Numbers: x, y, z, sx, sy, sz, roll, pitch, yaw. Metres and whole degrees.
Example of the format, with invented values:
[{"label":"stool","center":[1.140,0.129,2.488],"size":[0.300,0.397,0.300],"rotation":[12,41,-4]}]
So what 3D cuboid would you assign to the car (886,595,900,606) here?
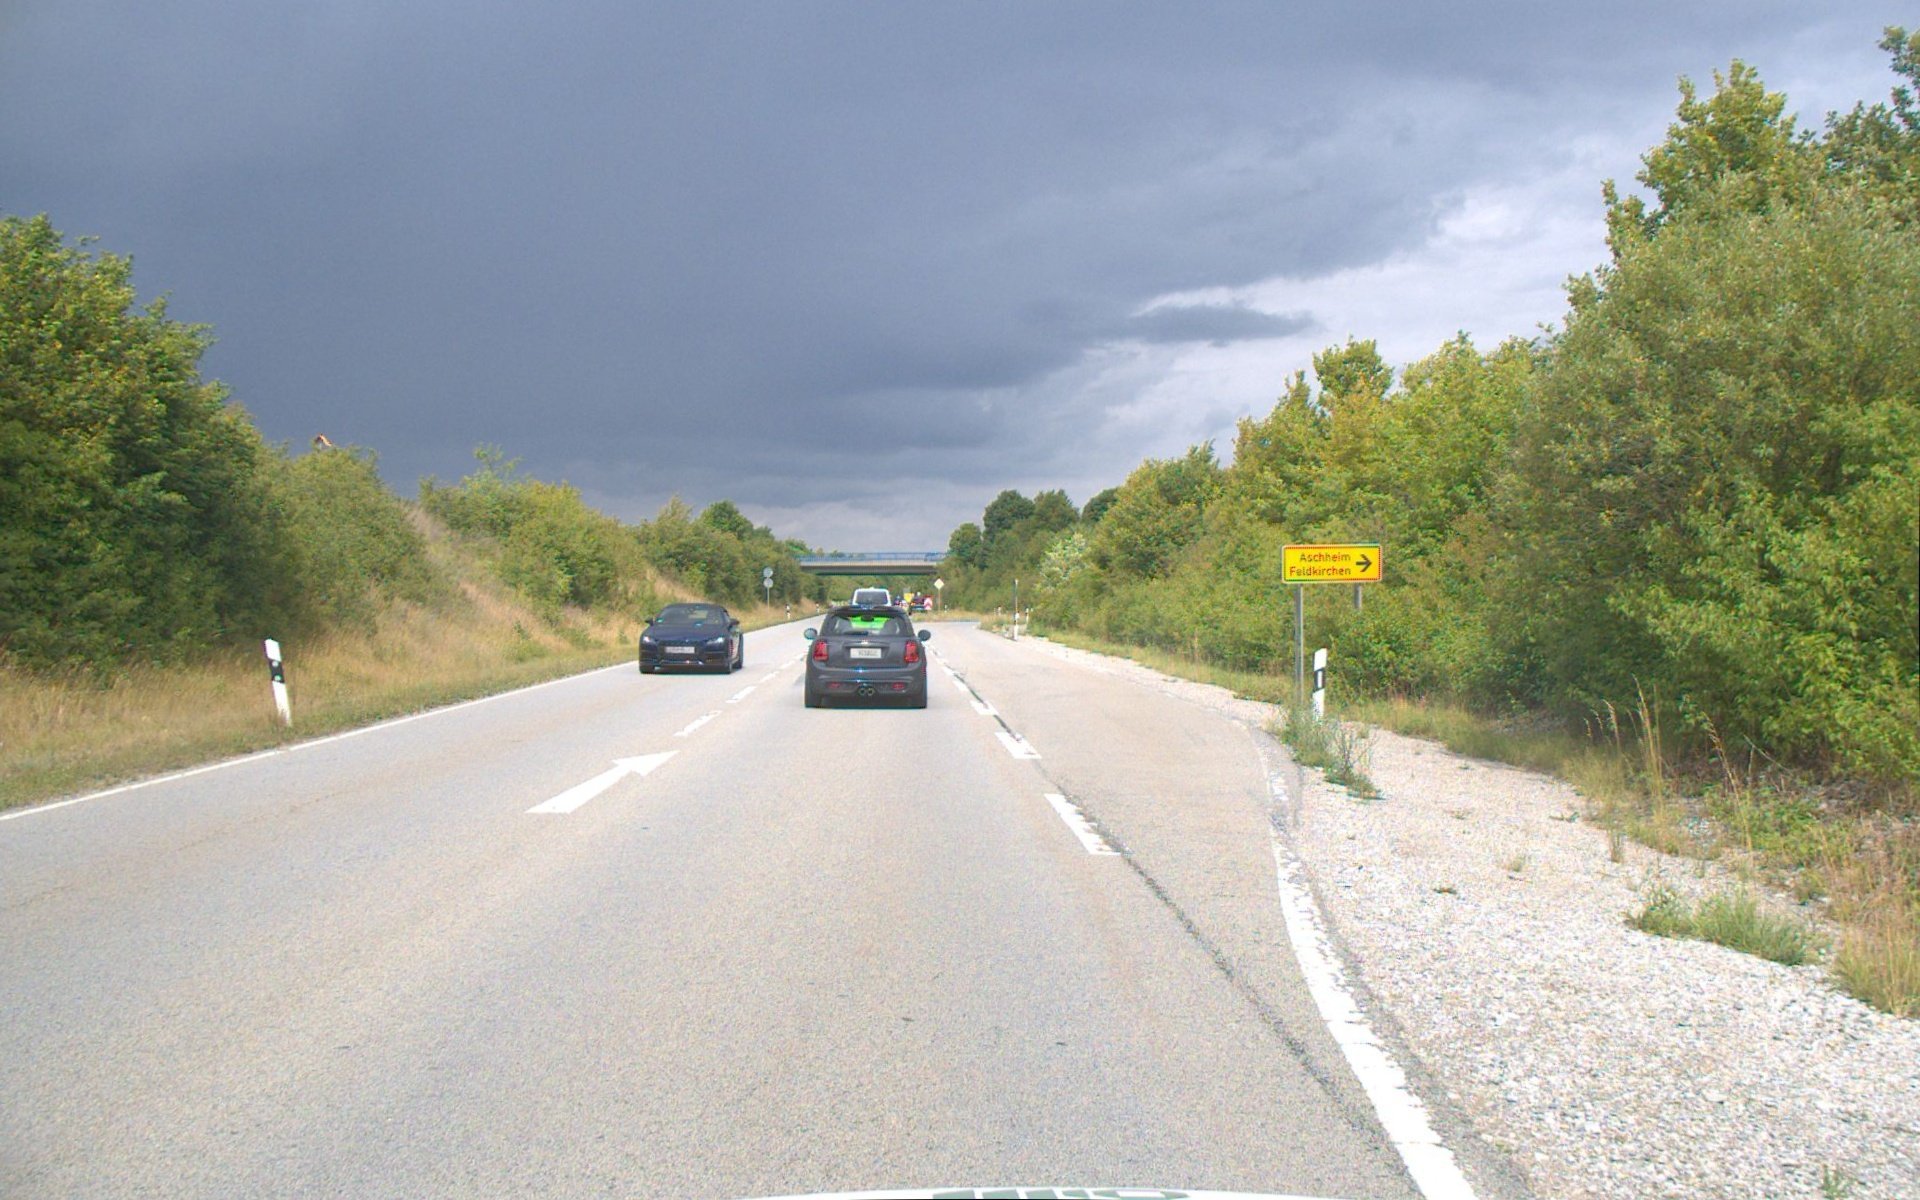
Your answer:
[{"label":"car","center":[-9.049,0.064,223.307],"size":[1.633,1.427,4.000],"rotation":[1,0,0]}]

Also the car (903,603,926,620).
[{"label":"car","center":[-4.313,1.061,157.667],"size":[1.954,1.579,3.996],"rotation":[1,0,-5]}]

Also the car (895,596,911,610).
[{"label":"car","center":[-6.926,0.353,202.105],"size":[1.745,1.736,3.996],"rotation":[1,0,-4]}]

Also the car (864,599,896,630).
[{"label":"car","center":[-4.738,0.837,98.547],"size":[1.781,1.780,3.999],"rotation":[1,0,-1]}]

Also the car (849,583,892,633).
[{"label":"car","center":[-3.965,0.344,73.536],"size":[1.783,2.090,3.998],"rotation":[1,0,-3]}]

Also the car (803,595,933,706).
[{"label":"car","center":[-1.334,0.684,24.263],"size":[1.721,1.452,3.998],"rotation":[1,0,-3]}]

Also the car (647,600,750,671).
[{"label":"car","center":[-5.281,0.675,33.787],"size":[1.667,1.353,3.997],"rotation":[0,0,-3]}]
